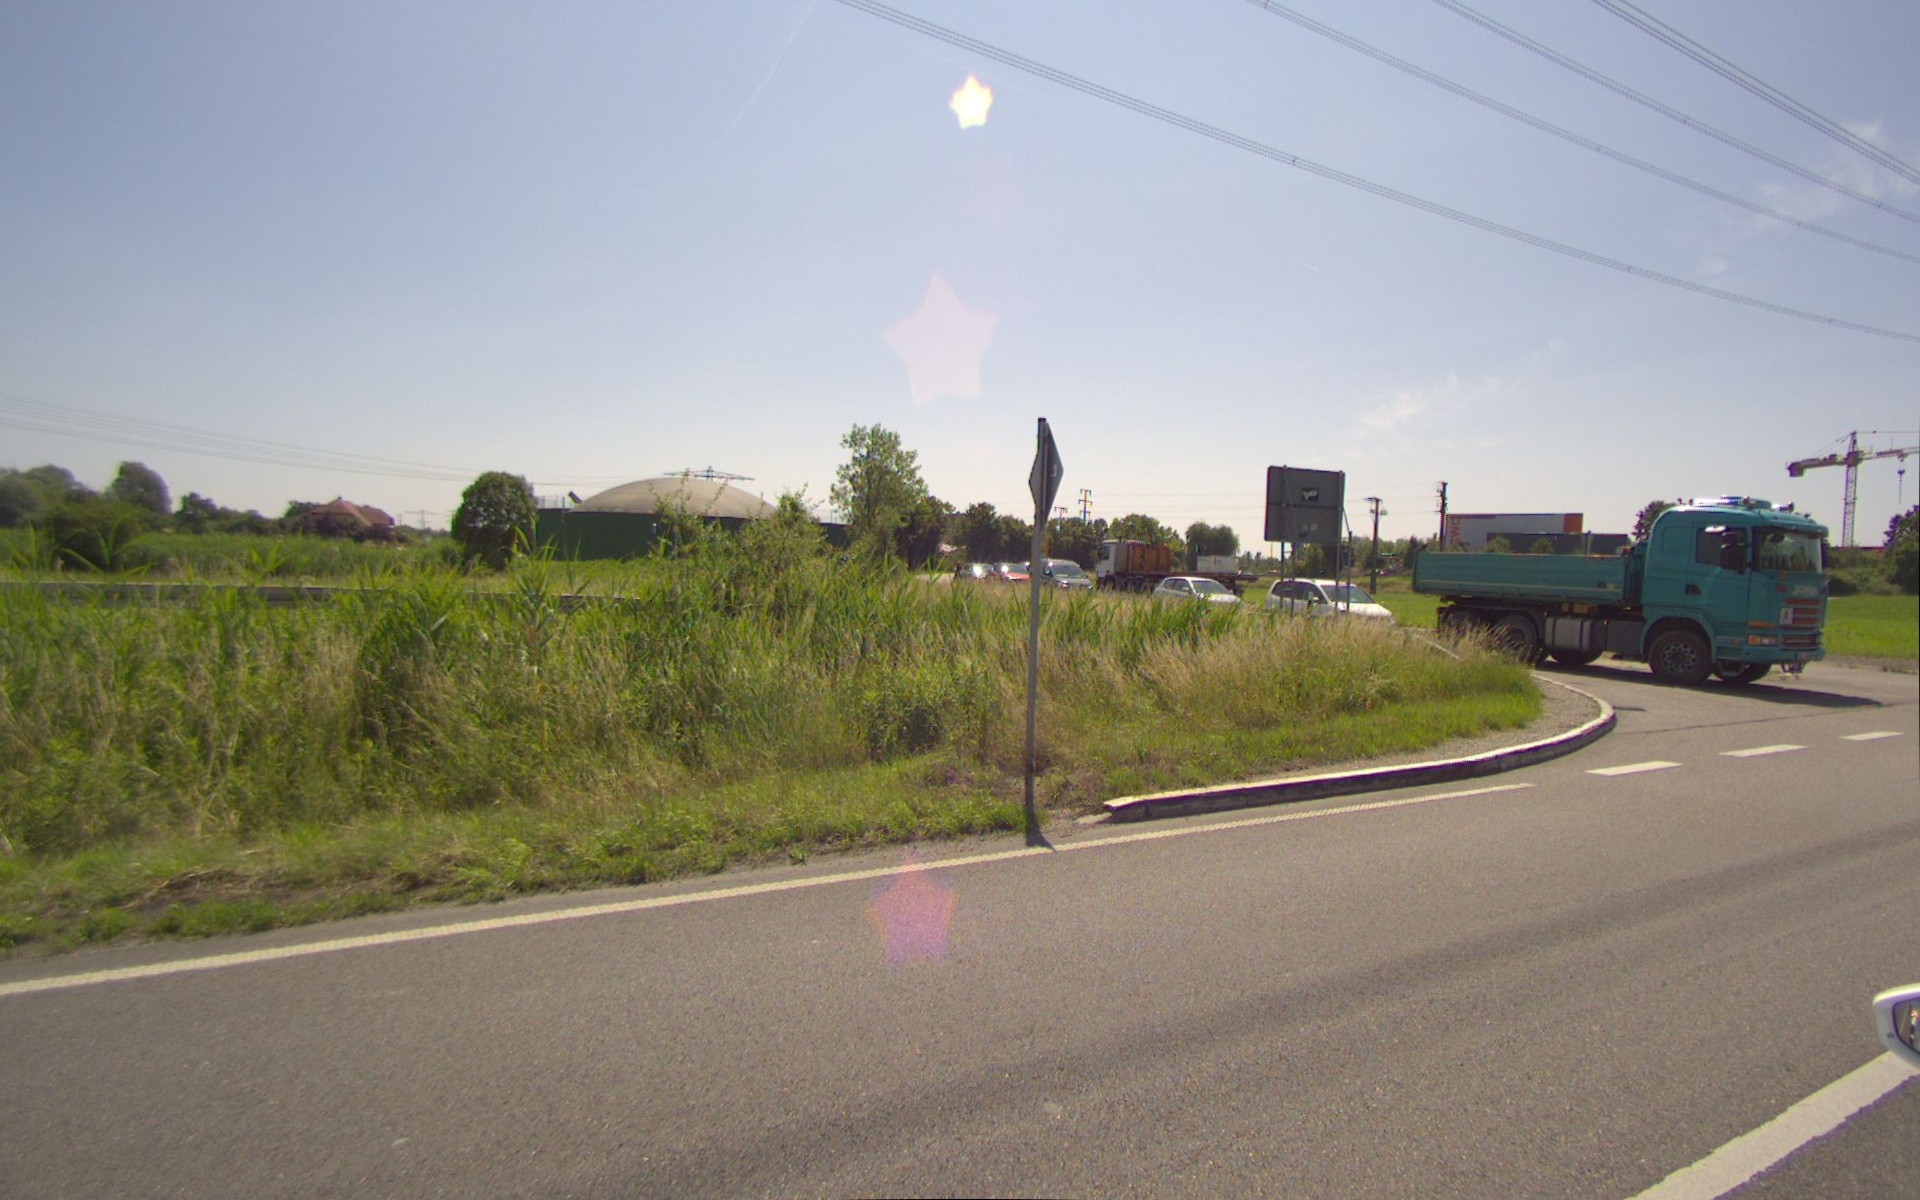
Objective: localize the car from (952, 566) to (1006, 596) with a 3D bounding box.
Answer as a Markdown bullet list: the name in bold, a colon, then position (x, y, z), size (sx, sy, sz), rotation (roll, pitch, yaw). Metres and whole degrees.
- **car**: position (1.037, -1.090, 56.495), size (1.754, 1.498, 3.982), rotation (1, 2, -19)

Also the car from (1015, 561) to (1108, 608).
- **car**: position (4.388, -0.729, 44.270), size (2.057, 1.893, 4.927), rotation (0, 3, -21)

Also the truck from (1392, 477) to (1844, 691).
- **truck**: position (13.609, -0.473, 21.812), size (2.466, 3.785, 7.873), rotation (1, 3, -27)

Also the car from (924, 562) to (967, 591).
- **car**: position (-0.962, -1.472, 62.874), size (1.965, 1.691, 3.991), rotation (1, 1, -12)

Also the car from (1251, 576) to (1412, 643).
- **car**: position (10.315, 0.213, 28.303), size (1.935, 1.634, 4.540), rotation (1, 2, -15)

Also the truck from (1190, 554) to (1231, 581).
- **truck**: position (47.833, -6.124, 191.342), size (3.626, 4.708, 13.208), rotation (3, 1, 32)

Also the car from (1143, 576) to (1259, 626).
- **car**: position (8.071, -0.008, 34.082), size (1.691, 1.490, 4.427), rotation (1, 2, -19)

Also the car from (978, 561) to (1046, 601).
- **car**: position (2.562, -1.017, 50.751), size (1.886, 1.874, 4.463), rotation (1, 2, -19)

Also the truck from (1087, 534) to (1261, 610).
- **truck**: position (10.114, -1.332, 48.936), size (2.794, 3.332, 9.630), rotation (0, 1, -27)
